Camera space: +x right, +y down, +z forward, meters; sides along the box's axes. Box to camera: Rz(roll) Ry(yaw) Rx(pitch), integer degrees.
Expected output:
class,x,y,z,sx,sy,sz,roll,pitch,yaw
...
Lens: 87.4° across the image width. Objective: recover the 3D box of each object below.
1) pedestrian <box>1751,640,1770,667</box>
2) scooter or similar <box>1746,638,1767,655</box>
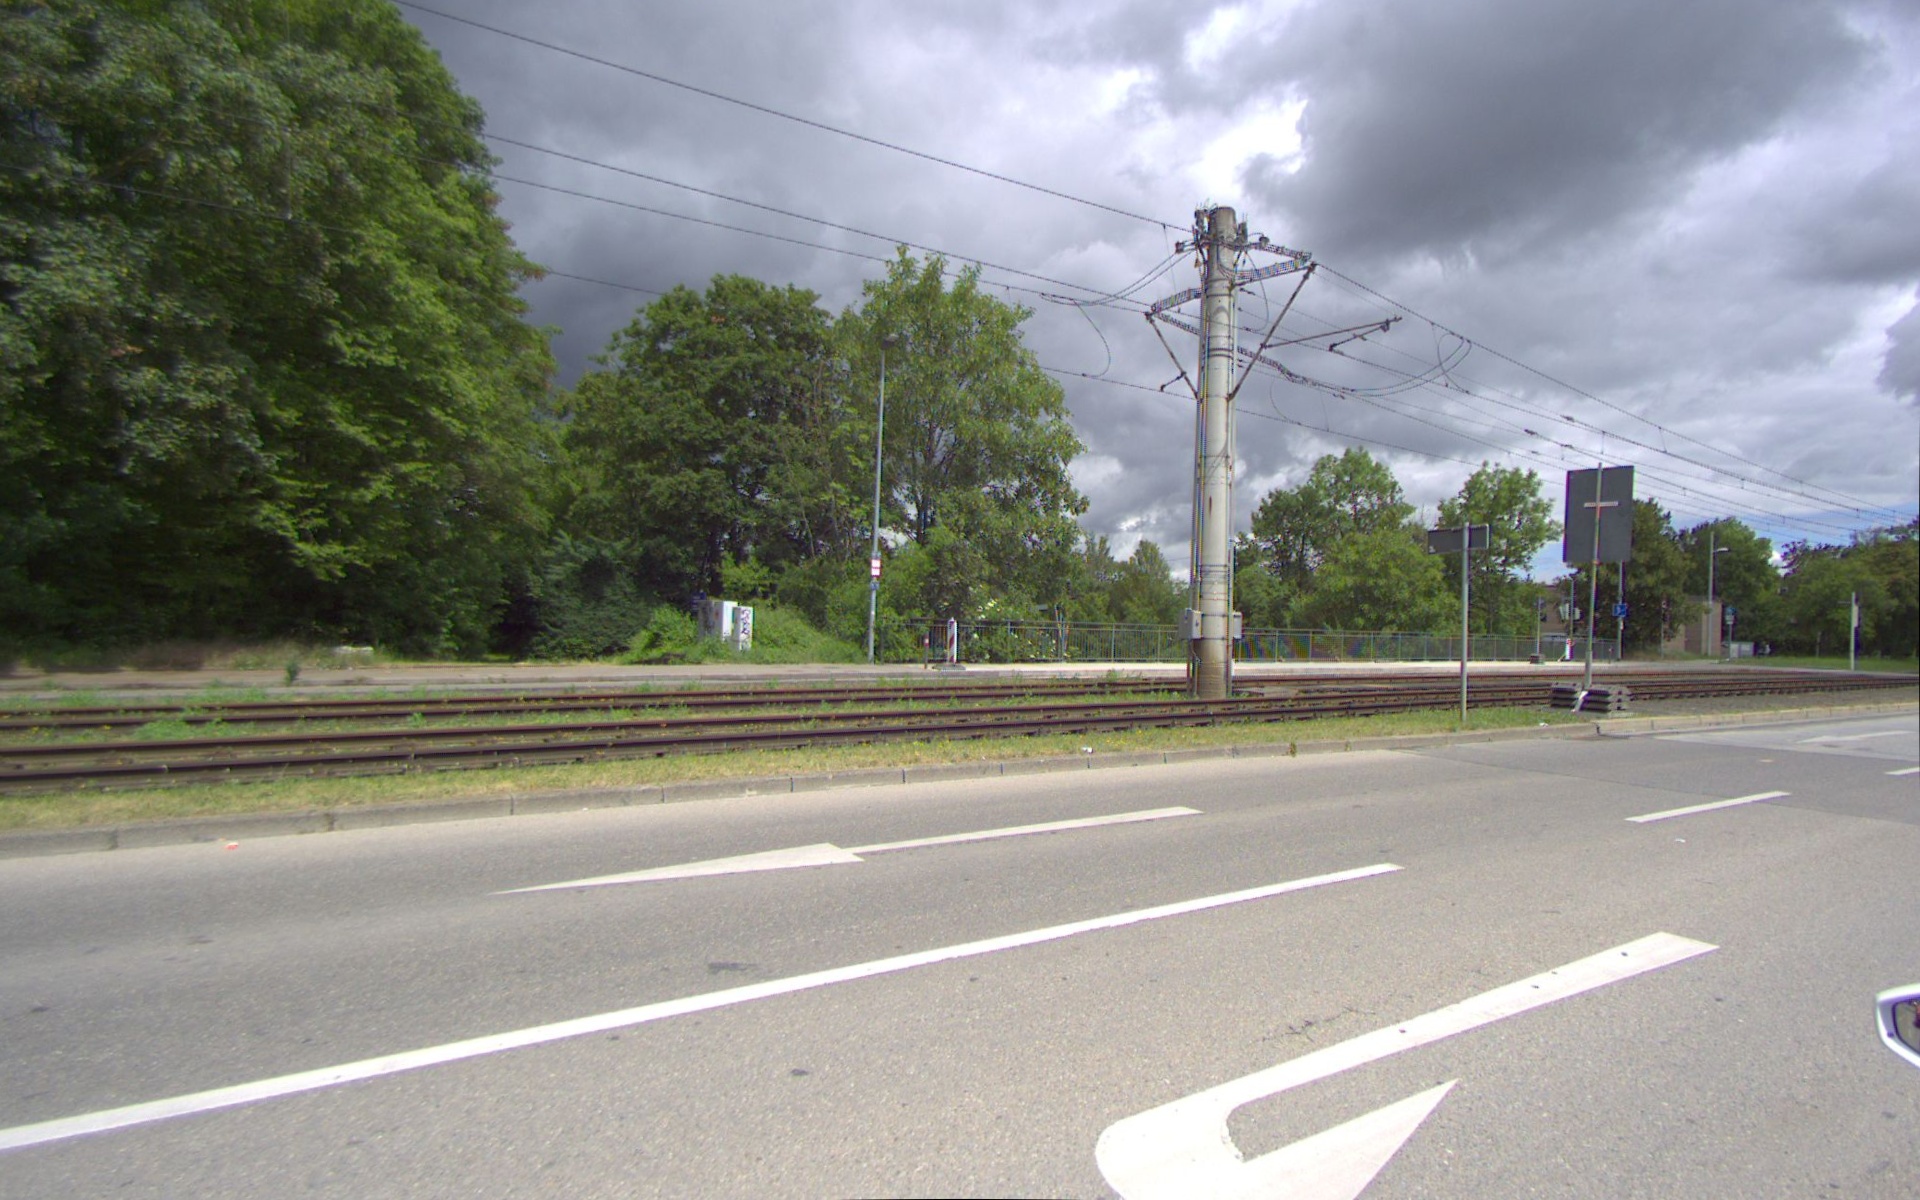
class,x,y,z,sx,sy,sz,roll,pitch,yaw
pedestrian,57.740,3.848,72.423,0.800,1.835,0.797,2,1,-32
scooter or similar,57.031,3.335,71.940,0.962,1.200,0.885,2,1,-33
